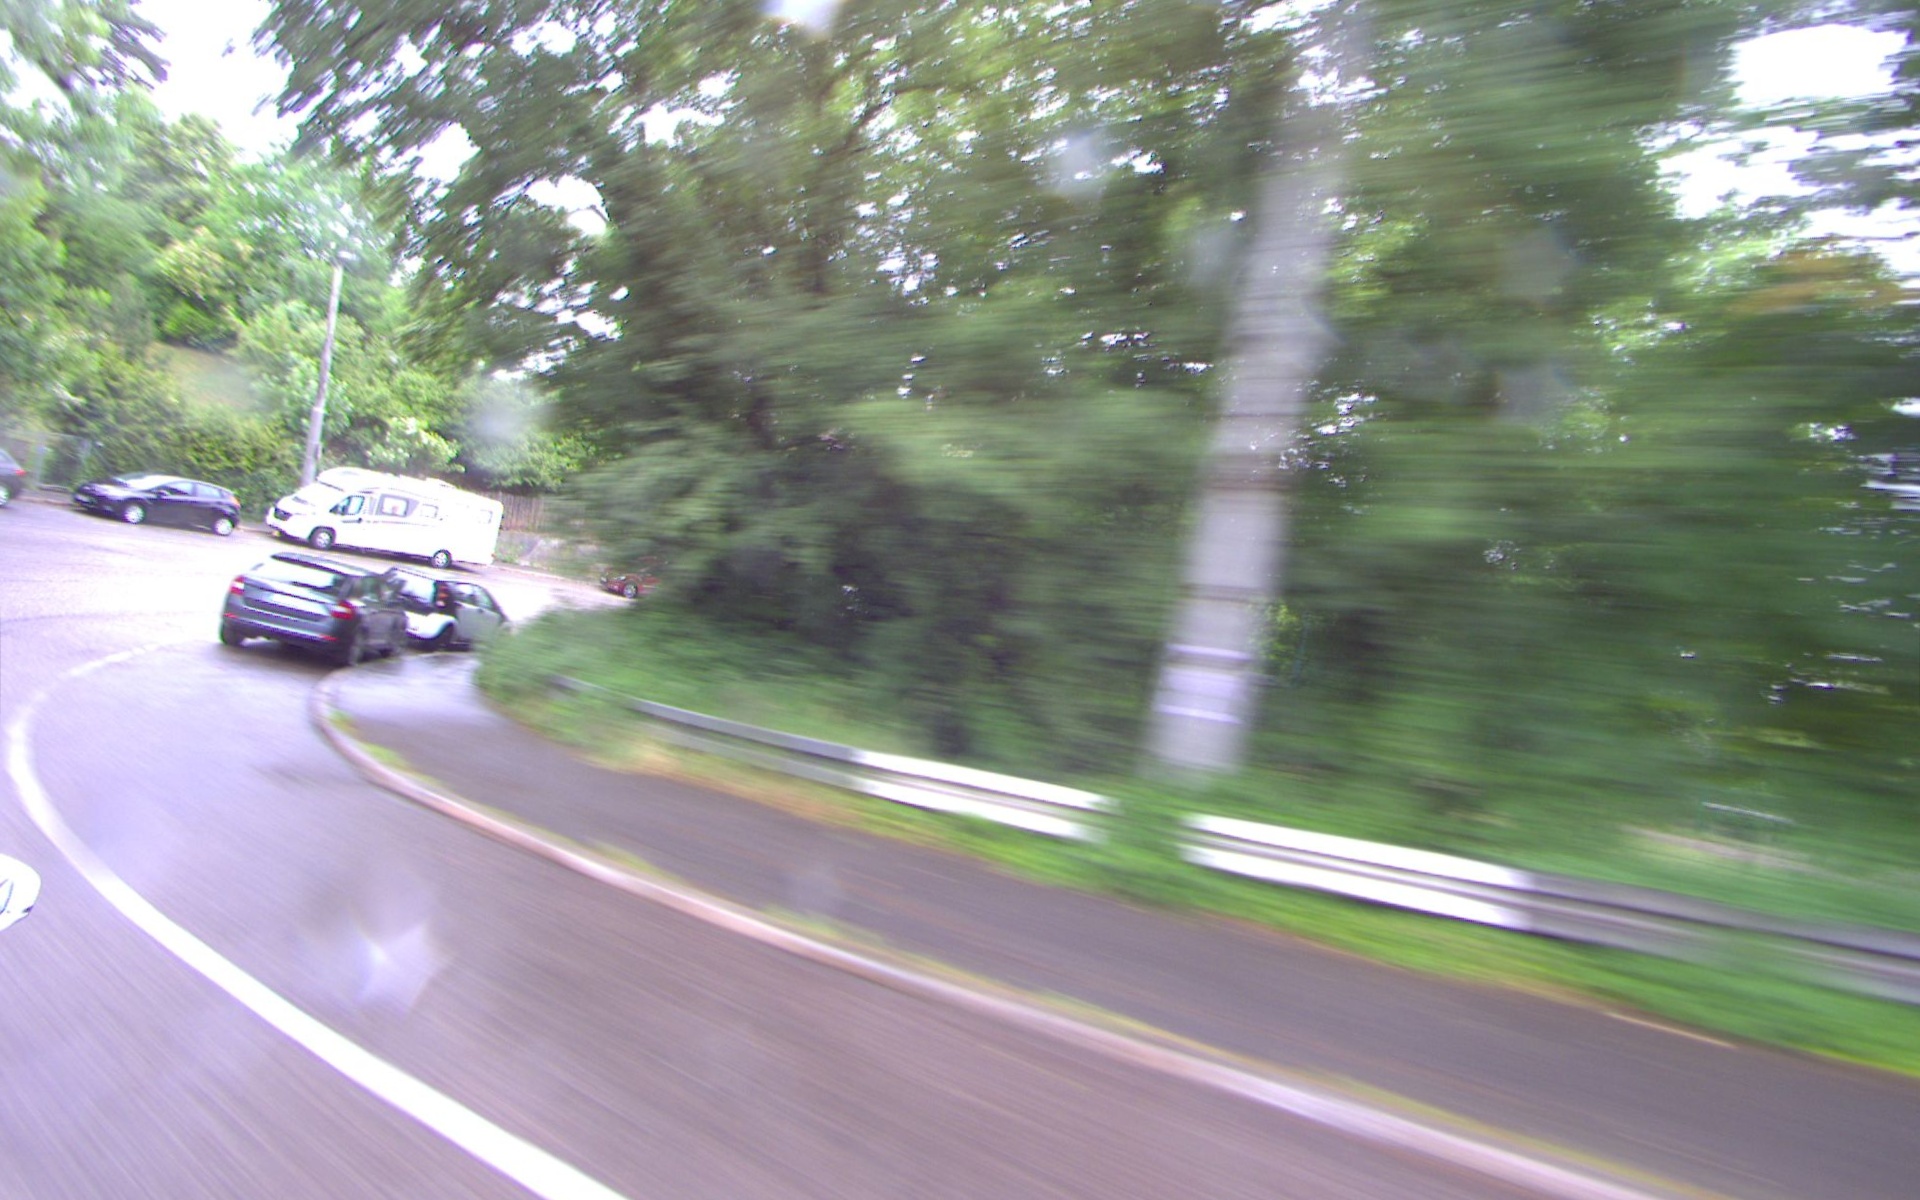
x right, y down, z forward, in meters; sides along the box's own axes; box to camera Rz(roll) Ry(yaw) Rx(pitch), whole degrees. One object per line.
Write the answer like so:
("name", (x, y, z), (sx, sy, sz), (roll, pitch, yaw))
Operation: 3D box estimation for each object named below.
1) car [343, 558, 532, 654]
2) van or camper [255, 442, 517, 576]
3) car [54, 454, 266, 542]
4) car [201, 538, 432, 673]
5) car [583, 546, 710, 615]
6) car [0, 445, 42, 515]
("car", (-10.531, 0.171, 20.622), (1.661, 1.422, 3.731), (13, -2, 0))
("van or camper", (-19.808, -3.006, 35.348), (2.163, 2.965, 7.661), (14, 1, 27))
("car", (-22.504, -2.814, 28.524), (1.727, 1.370, 4.319), (14, -1, 18))
("car", (-9.721, 0.081, 15.587), (1.633, 1.479, 4.021), (14, -3, -15))
("car", (-13.889, -0.835, 44.793), (1.769, 1.909, 4.907), (15, 1, 44))
("car", (-23.407, -3.064, 22.301), (1.753, 1.480, 4.315), (14, -1, 3))
